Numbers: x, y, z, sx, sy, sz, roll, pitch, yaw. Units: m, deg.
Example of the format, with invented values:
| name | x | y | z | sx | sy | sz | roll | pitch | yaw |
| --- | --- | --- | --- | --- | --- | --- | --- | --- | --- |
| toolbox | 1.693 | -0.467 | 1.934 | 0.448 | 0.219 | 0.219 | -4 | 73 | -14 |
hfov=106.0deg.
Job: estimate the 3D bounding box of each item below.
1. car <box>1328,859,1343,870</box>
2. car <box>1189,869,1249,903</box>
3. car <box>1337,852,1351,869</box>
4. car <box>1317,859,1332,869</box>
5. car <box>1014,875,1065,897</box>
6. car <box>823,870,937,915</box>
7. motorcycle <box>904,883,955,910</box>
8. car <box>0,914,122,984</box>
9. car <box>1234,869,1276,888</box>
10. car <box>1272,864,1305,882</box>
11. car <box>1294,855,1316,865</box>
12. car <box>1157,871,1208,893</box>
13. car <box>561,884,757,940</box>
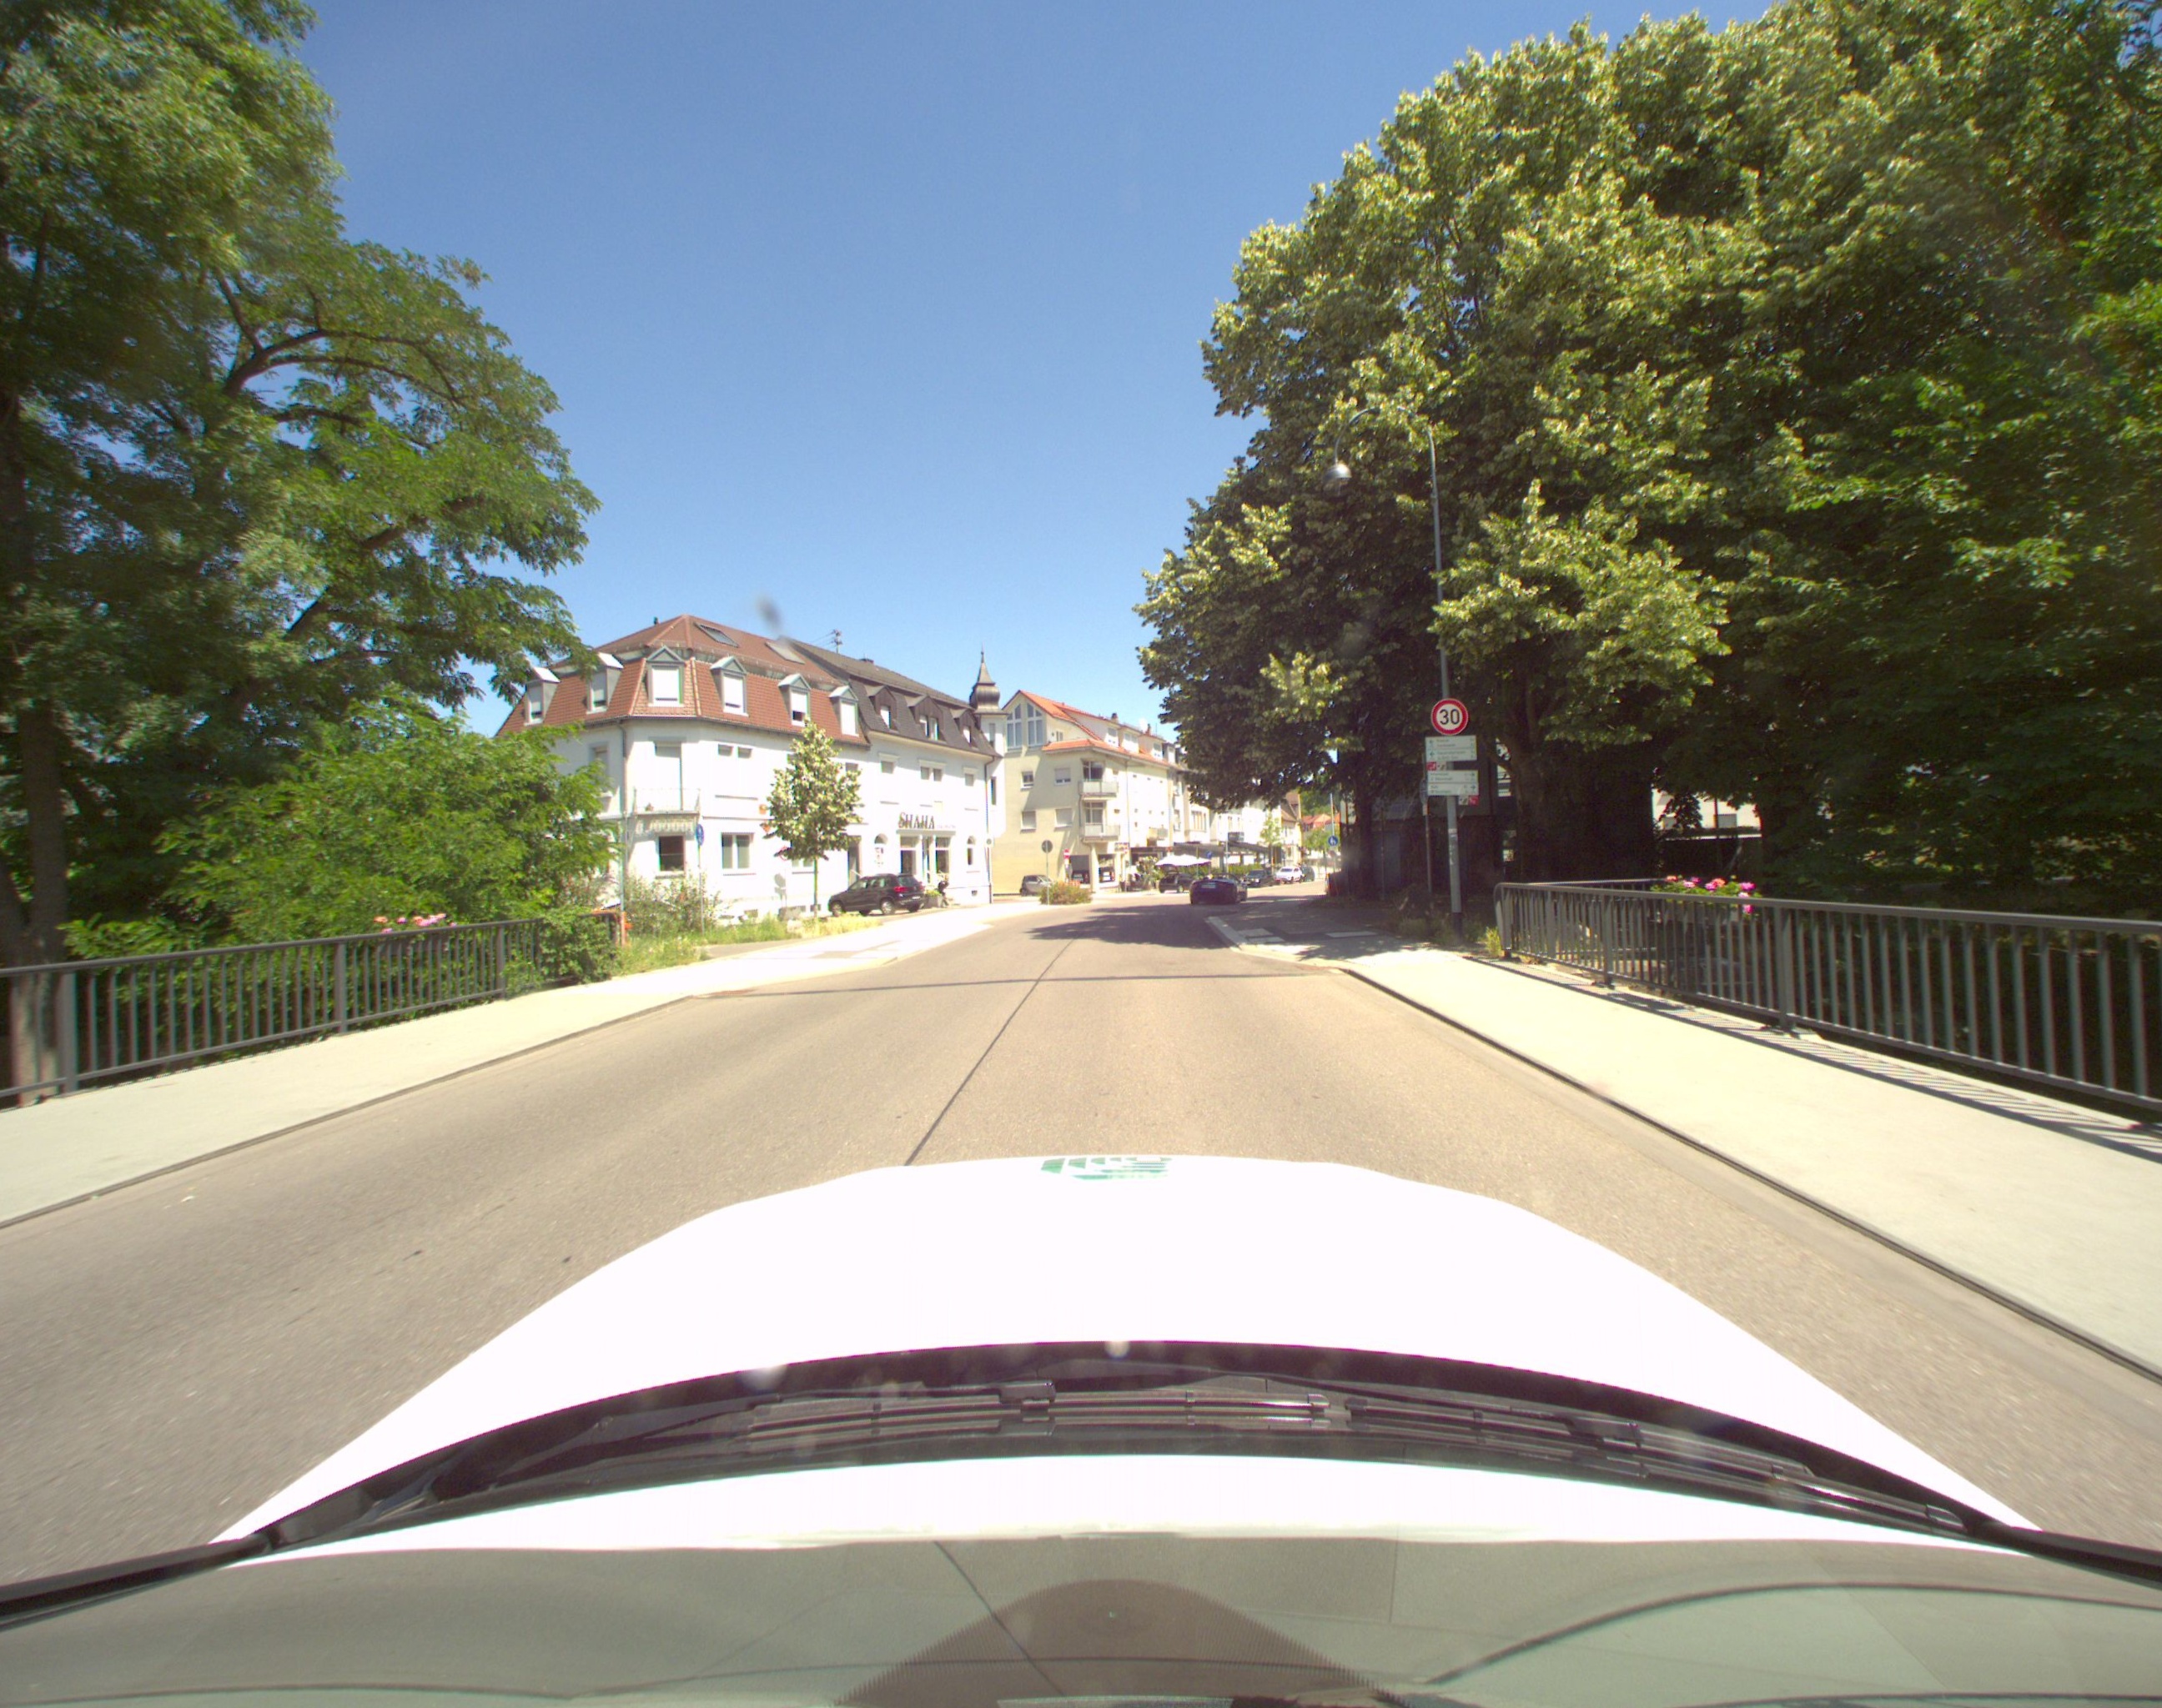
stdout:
| name | x | y | z | sx | sy | sz | roll | pitch | yaw |
| --- | --- | --- | --- | --- | --- | --- | --- | --- | --- |
| car | 41.887 | 1.784 | 134.060 | 1.979 | 1.739 | 4.016 | -3 | -2 | 15 |
| car | 6.024 | 1.341 | 35.182 | 1.855 | 1.342 | 4.617 | -1 | -1 | 18 |
| car | 40.339 | 0.990 | 124.920 | 1.852 | 2.401 | 4.839 | -3 | -1 | 17 |
| car | 43.751 | 1.737 | 146.377 | 1.982 | 1.692 | 4.010 | -2 | -1 | 9 |
| car | -3.001 | 2.309 | 59.316 | 3.233 | 1.458 | 1.701 | -3 | -1 | 23 |
| car | -8.281 | 1.581 | 33.539 | 4.143 | 1.662 | 1.982 | -3 | -2 | 23 |
| motorcycle | -7.363 | 2.074 | 39.515 | 2.373 | 1.218 | 0.838 | -3 | -3 | 26 |
| car | -27.804 | 2.459 | 20.736 | 3.986 | 1.542 | 1.994 | -2 | -1 | -9 |
| car | 14.200 | 1.963 | 66.232 | 1.817 | 1.429 | 4.812 | -1 | 0 | 31 |
| car | 18.579 | 1.704 | 72.663 | 1.629 | 1.479 | 3.966 | -1 | 0 | 33 |
| car | 50.880 | 1.319 | 184.949 | 4.267 | 2.014 | 1.989 | 0 | -3 | -16 |
| car | 7.201 | 1.932 | 57.613 | 1.696 | 1.461 | 4.155 | 0 | -1 | 38 |
| car | -12.339 | 1.667 | 24.117 | 4.692 | 1.356 | 1.994 | -2 | -1 | -9 |
